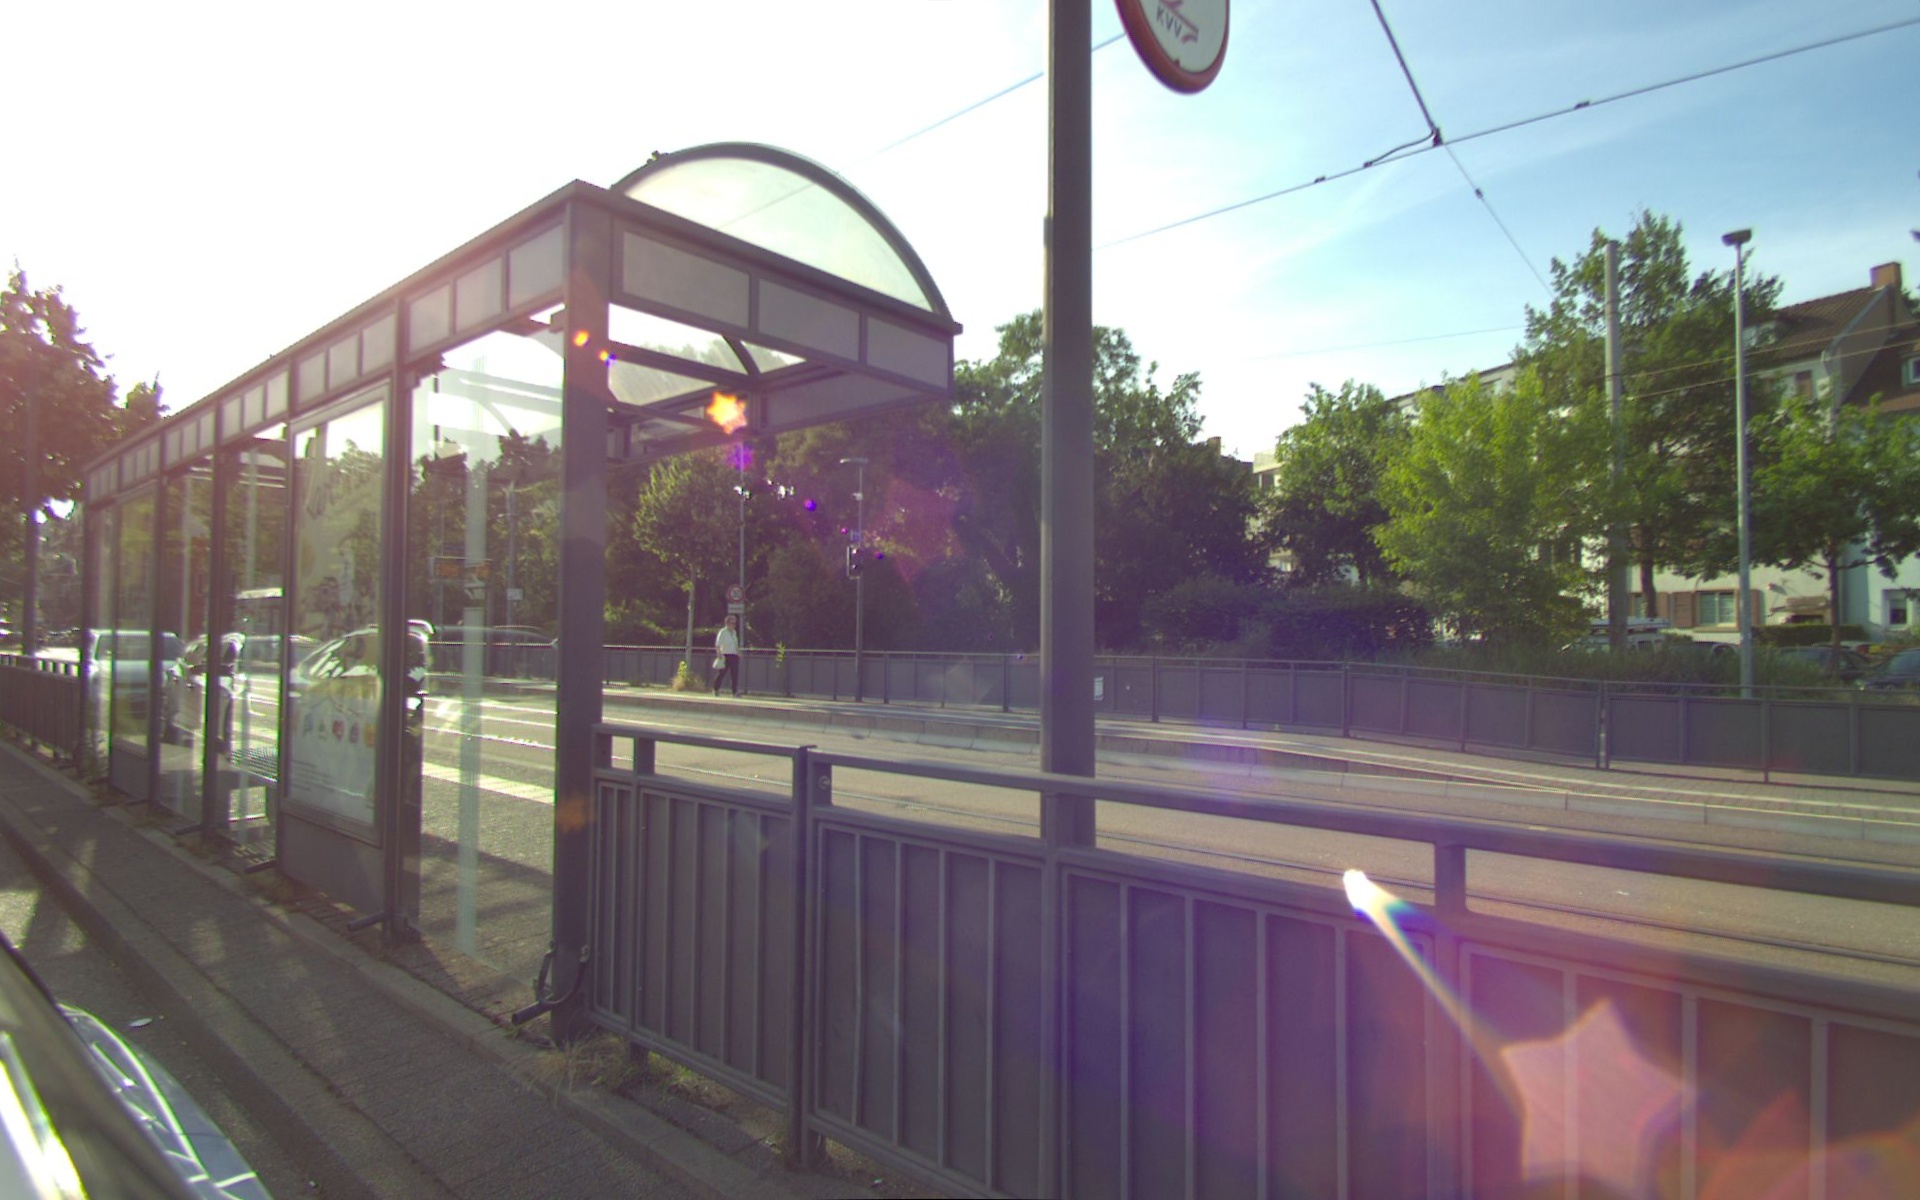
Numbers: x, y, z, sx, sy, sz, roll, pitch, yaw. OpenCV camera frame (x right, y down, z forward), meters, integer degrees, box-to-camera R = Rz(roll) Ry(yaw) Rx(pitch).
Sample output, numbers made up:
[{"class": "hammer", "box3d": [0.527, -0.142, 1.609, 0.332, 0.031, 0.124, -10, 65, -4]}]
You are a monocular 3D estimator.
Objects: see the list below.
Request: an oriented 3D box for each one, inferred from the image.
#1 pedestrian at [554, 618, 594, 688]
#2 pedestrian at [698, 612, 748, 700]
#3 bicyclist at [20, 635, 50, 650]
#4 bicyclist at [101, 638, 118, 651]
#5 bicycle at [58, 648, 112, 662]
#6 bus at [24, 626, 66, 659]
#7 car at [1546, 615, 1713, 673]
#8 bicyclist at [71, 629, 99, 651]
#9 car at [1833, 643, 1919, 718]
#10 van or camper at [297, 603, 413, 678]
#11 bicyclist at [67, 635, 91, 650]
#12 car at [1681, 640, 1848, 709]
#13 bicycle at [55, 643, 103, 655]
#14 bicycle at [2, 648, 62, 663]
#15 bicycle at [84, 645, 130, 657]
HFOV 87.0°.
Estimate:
[{"class": "pedestrian", "box3d": [-9.696, 1.334, 25.399, 0.618, 1.697, 0.613, -2, -6, 41]}, {"class": "pedestrian", "box3d": [-4.693, 1.112, 20.048, 0.618, 1.697, 0.613, -2, -6, 41]}, {"class": "bicyclist", "box3d": [-63.069, 2.899, 68.990, 0.887, 1.014, 1.384, -2, -3, 39]}, {"class": "bicyclist", "box3d": [-62.241, 3.250, 74.054, 0.617, 0.920, 0.885, -2, -3, 44]}, {"class": "bicycle", "box3d": [-64.523, 4.072, 74.657, 0.878, 0.988, 2.925, -2, -3, 38]}, {"class": "bus", "box3d": [-102.337, 4.692, 113.148, 9.258, 3.461, 2.405, -1, 0, 41]}, {"class": "car", "box3d": [18.146, 1.196, 27.455, 3.930, 1.497, 1.854, 1, -3, -22]}, {"class": "bicyclist", "box3d": [-64.525, 2.966, 74.667, 0.887, 1.559, 1.384, -2, -3, 39]}, {"class": "car", "box3d": [19.636, 1.600, 20.611, 3.935, 1.409, 2.004, 2, -3, -37]}, {"class": "van or camper", "box3d": [-26.289, 1.678, 43.860, 6.408, 2.990, 2.494, -1, 0, 41]}, {"class": "bicyclist", "box3d": [-62.661, 3.036, 72.003, 0.672, 1.032, 1.200, -2, -3, 45]}, {"class": "car", "box3d": [18.184, 1.623, 22.837, 3.935, 1.409, 2.004, 2, -3, -37]}, {"class": "bicycle", "box3d": [-62.653, 3.482, 71.990, 0.631, 0.888, 2.502, -2, -3, 45]}, {"class": "bicycle", "box3d": [-63.109, 3.793, 68.852, 0.878, 0.988, 2.925, -2, -3, 38]}, {"class": "bicycle", "box3d": [-62.301, 3.740, 73.974, 0.631, 0.888, 2.502, -2, -3, 44]}]
